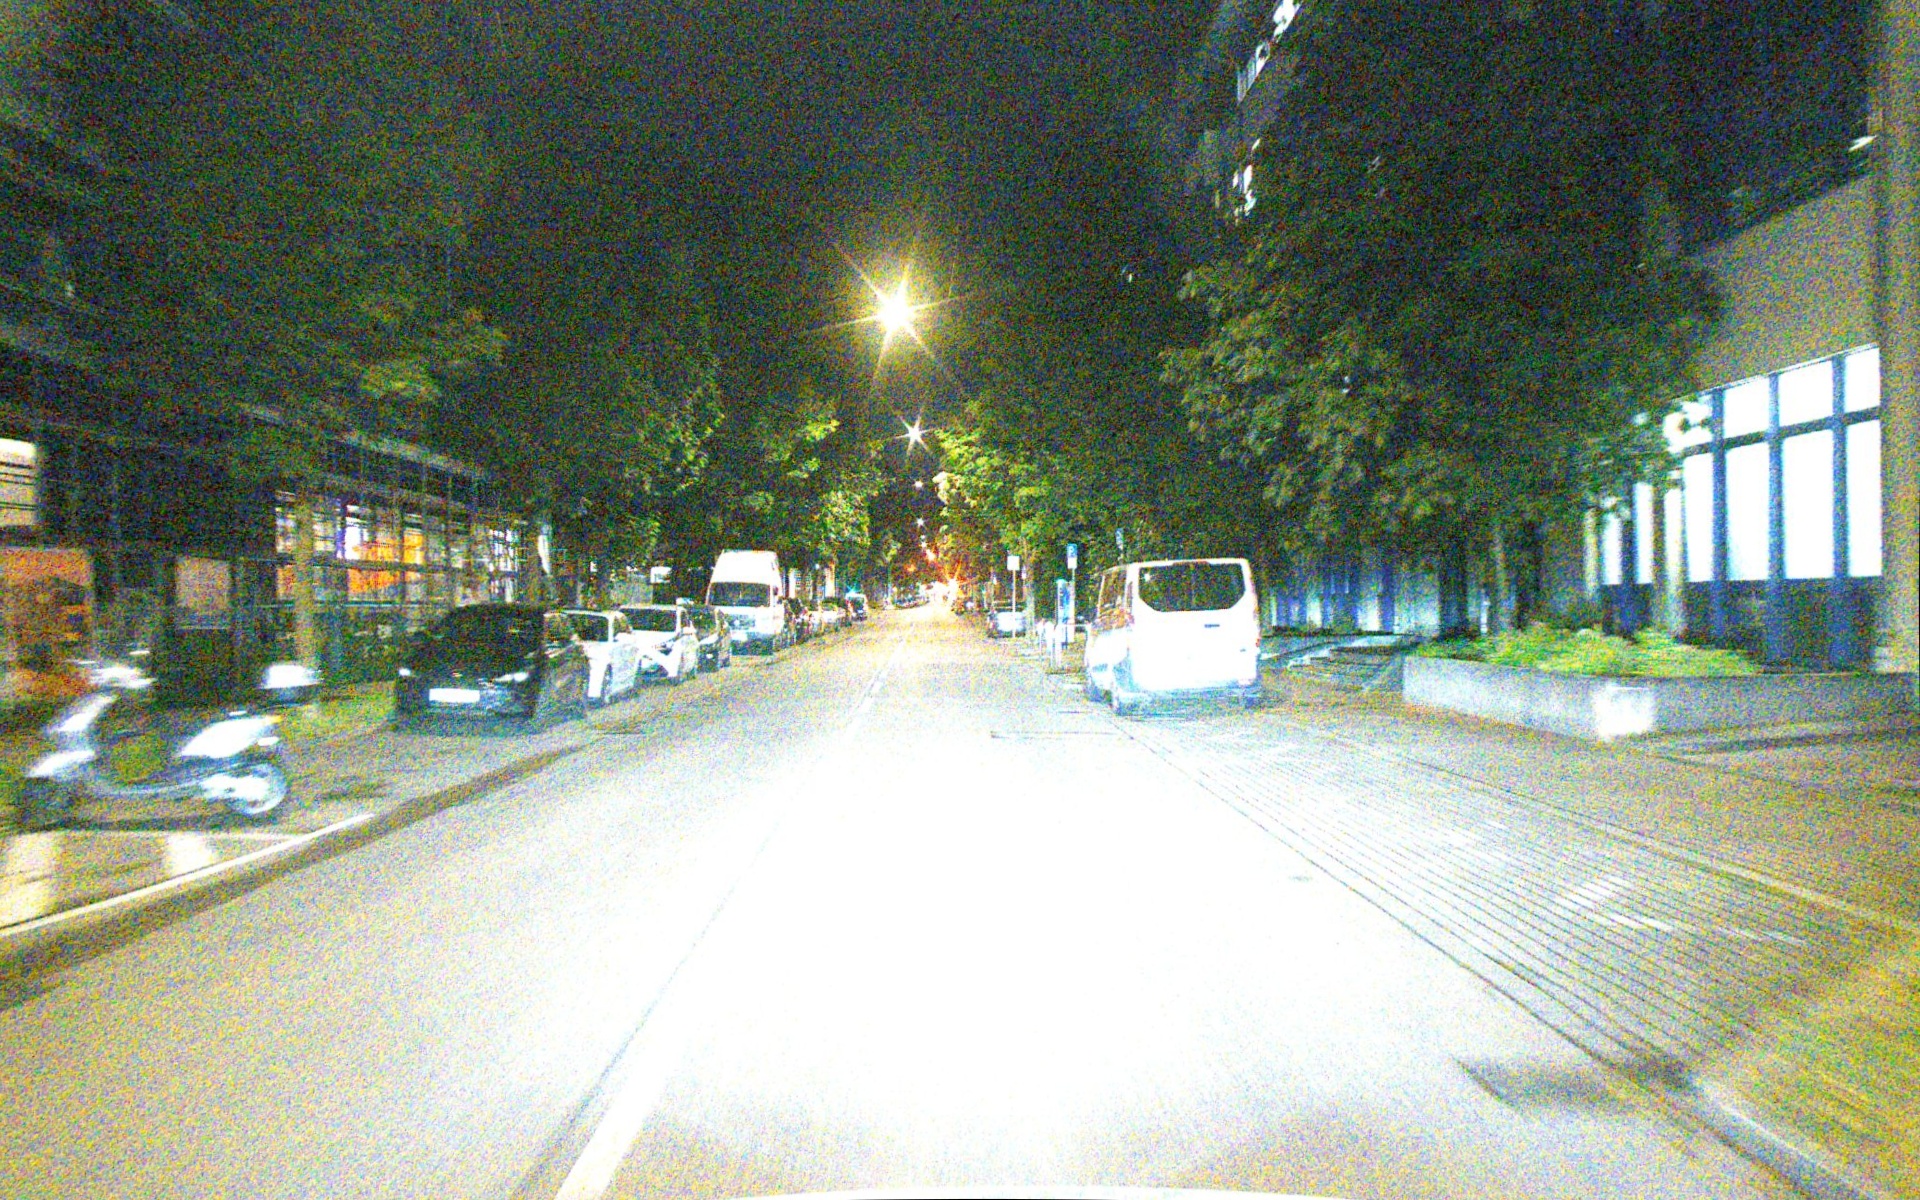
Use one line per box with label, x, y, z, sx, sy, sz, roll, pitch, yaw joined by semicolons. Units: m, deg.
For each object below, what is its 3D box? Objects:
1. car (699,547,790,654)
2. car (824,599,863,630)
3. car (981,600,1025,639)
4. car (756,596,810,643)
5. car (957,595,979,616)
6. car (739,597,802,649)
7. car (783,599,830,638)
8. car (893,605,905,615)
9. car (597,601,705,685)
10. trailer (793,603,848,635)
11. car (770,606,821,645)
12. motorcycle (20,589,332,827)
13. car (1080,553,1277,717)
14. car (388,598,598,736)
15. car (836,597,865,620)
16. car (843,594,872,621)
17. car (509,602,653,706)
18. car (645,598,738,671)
car;-6.281;0.019;48.749;2.135;2.960;4.908;1;0;-2
car;-6.562;0.812;93.416;1.785;1.626;4.072;3;0;0
car;1.705;0.752;65.346;1.634;1.454;4.148;-2;0;1
car;-6.399;0.702;60.014;1.707;1.635;4.295;0;0;-3
car;0.658;0.469;135.924;1.815;1.683;4.208;0;0;0
car;-6.189;0.732;54.429;1.707;1.634;4.114;1;0;-2
car;-6.497;0.778;70.386;1.682;1.528;4.204;3;0;-2
car;-8.962;1.466;242.963;1.705;1.440;3.751;0;0;-1
car;-5.907;0.792;31.909;1.516;1.481;3.367;2;0;-2
trailer;-6.547;0.882;78.295;2.067;1.358;5.434;2;0;0
car;-6.456;0.974;65.175;1.670;1.436;4.632;0;0;-1
motorcycle;-5.434;0.741;11.592;1.874;1.577;0.635;2;-1;-21
car;2.919;0.440;23.120;1.912;1.998;4.601;-2;0;-2
car;-5.779;0.773;20.935;1.609;1.531;3.902;2;0;-2
car;-7.626;0.579;115.188;1.665;1.458;3.828;3;0;0
car;-7.581;0.572;122.603;1.785;1.843;4.210;3;0;0
car;-5.863;0.795;25.961;1.415;1.454;3.902;2;0;-2
car;-6.122;0.754;38.074;1.612;1.531;3.859;2;0;-2
